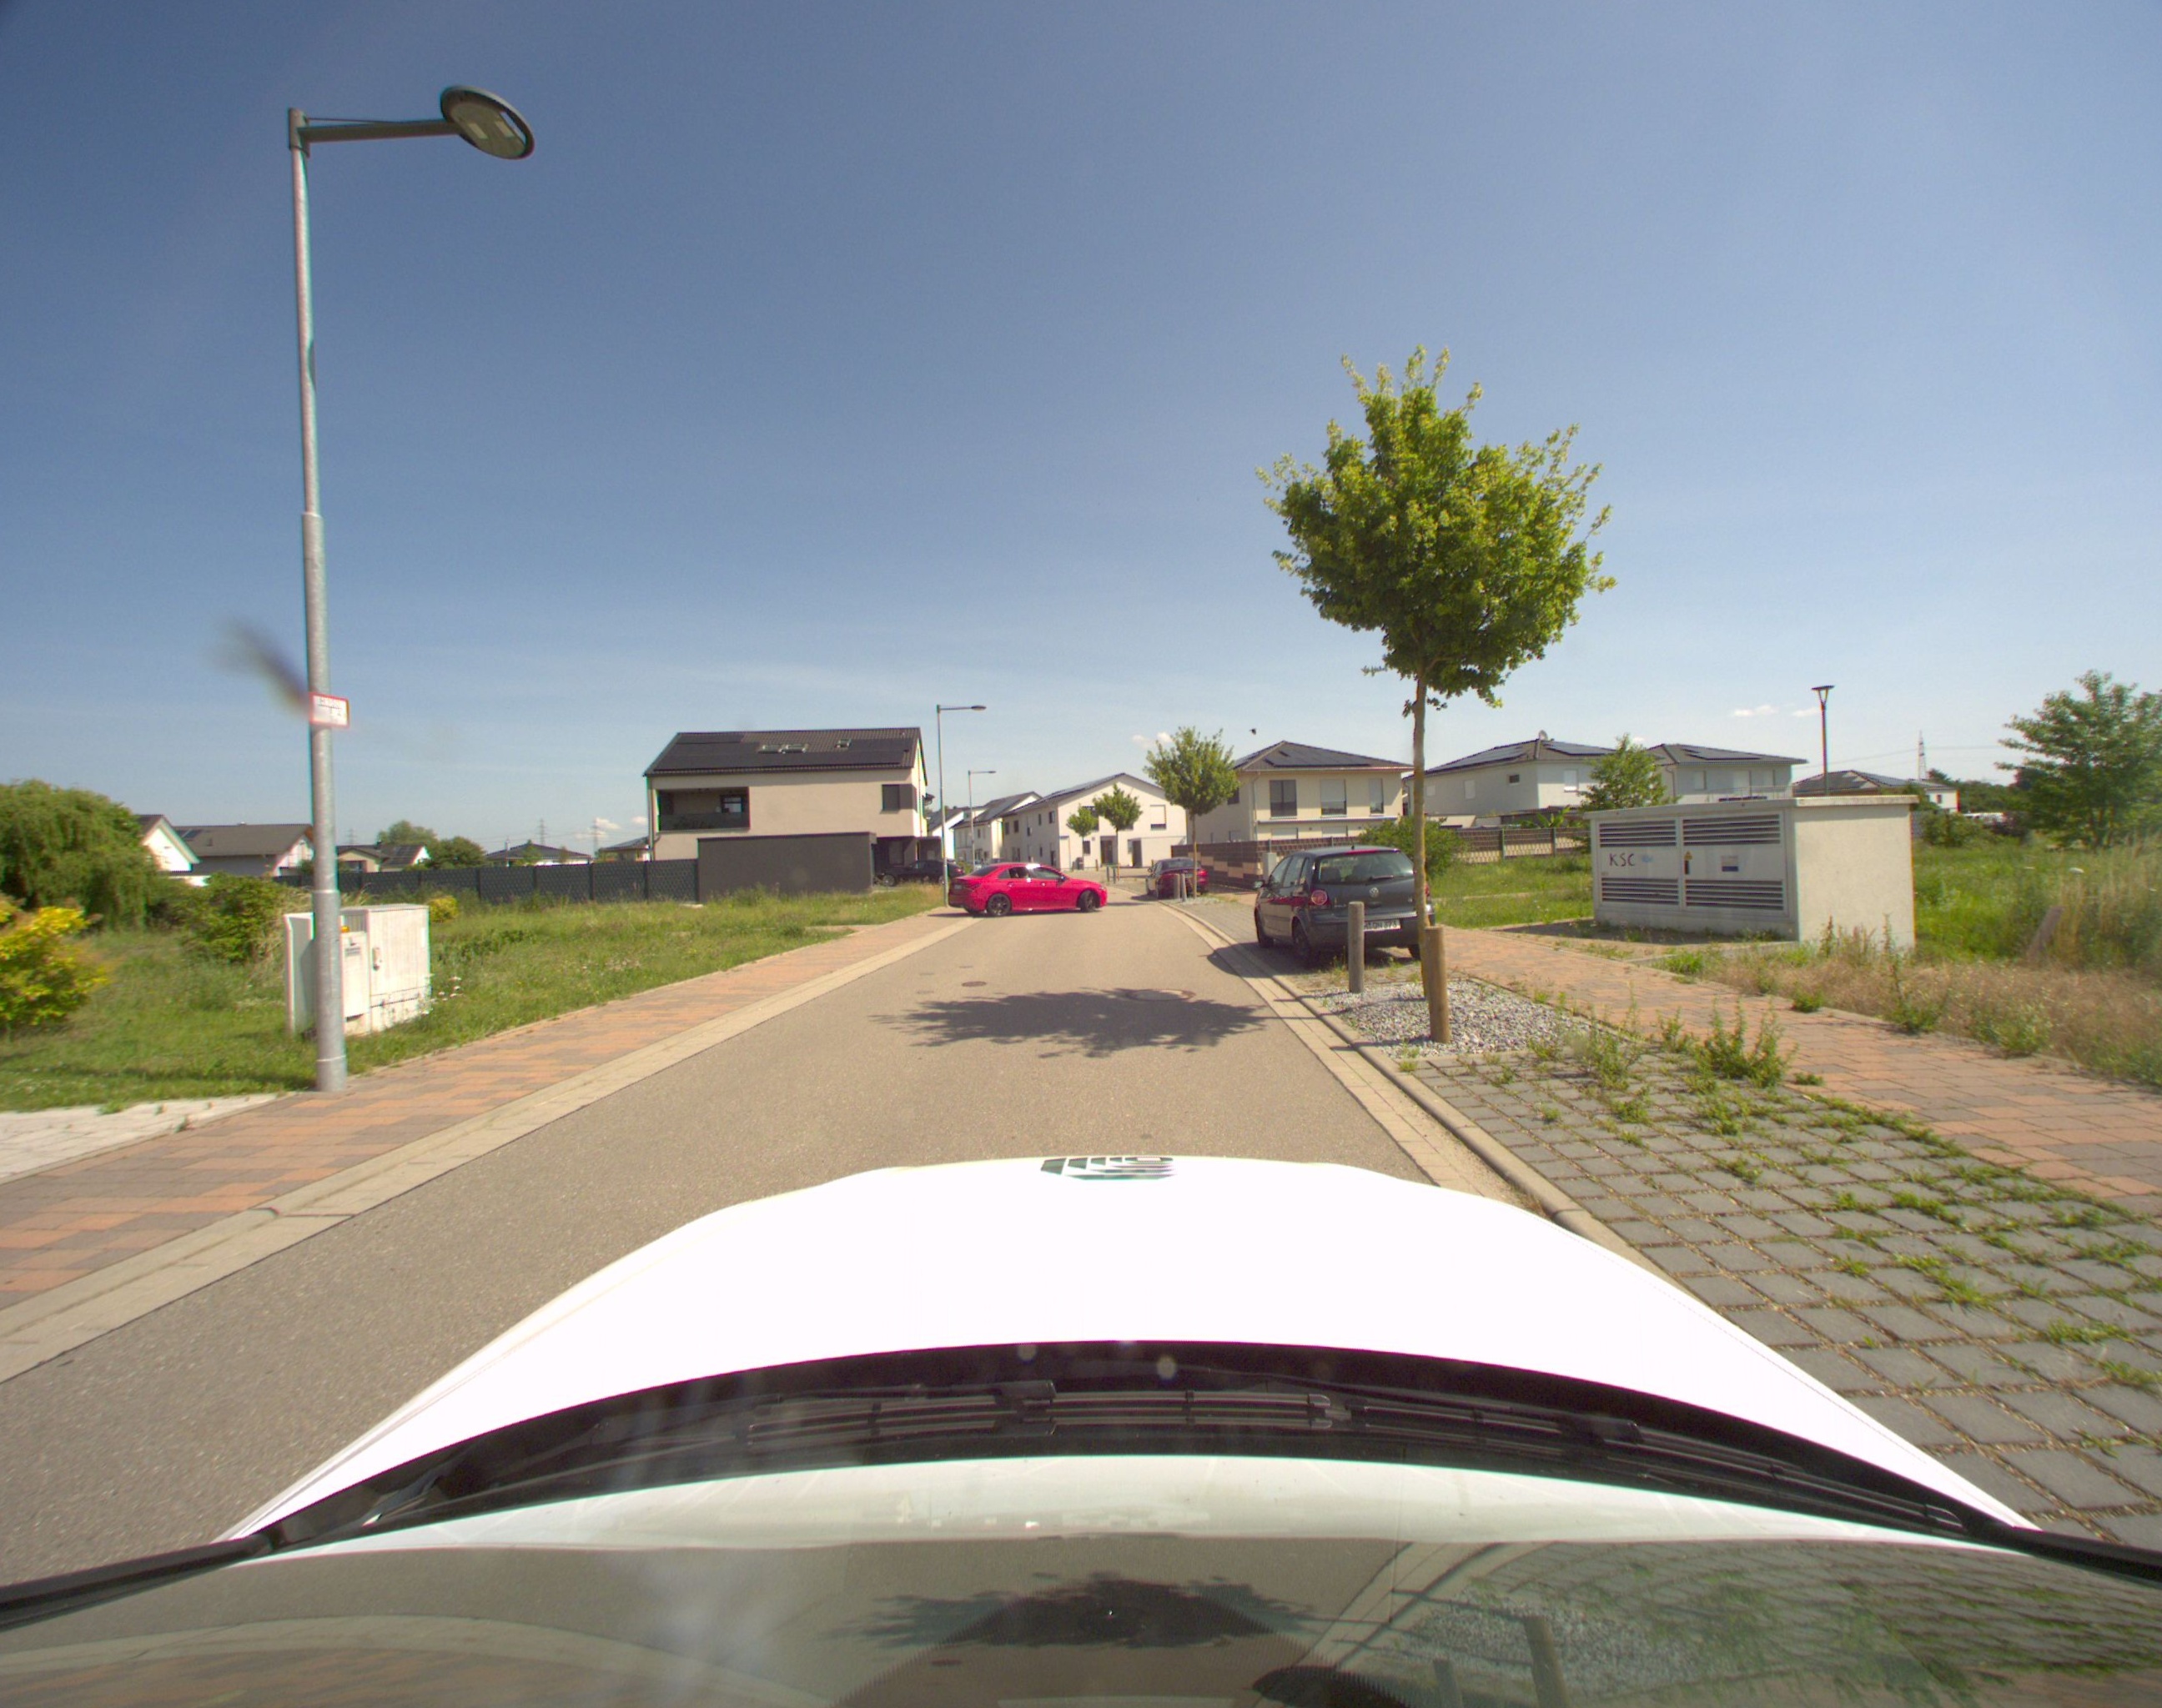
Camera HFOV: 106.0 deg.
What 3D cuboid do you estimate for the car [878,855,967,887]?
[{"bbox_3d":[-8.235,0.865,42.567,4.370,1.631,1.767,0,-1,-6],"label":"car"}]

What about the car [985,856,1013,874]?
[{"bbox_3d":[-7.366,1.001,72.729,1.731,1.423,3.976,-3,0,-17],"label":"car"}]

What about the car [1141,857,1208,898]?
[{"bbox_3d":[3.396,0.813,30.242,1.750,1.363,4.571,-1,0,-3],"label":"car"}]

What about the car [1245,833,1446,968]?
[{"bbox_3d":[3.440,0.538,11.275,1.592,1.475,3.676,-3,0,1],"label":"car"}]

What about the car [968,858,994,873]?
[{"bbox_3d":[-10.139,1.163,82.176,1.683,1.464,3.918,-3,0,-20],"label":"car"}]

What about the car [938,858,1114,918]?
[{"bbox_3d":[-1.479,0.869,22.520,4.533,1.438,1.751,-1,0,-30],"label":"car"}]

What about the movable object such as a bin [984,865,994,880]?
[{"bbox_3d":[-5.969,1.214,52.814,0.532,0.936,0.526,-1,0,3],"label":"movable object such as a bin"}]

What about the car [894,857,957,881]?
[{"bbox_3d":[-10.494,0.998,55.293,3.980,1.486,1.751,-2,0,-5],"label":"car"}]
